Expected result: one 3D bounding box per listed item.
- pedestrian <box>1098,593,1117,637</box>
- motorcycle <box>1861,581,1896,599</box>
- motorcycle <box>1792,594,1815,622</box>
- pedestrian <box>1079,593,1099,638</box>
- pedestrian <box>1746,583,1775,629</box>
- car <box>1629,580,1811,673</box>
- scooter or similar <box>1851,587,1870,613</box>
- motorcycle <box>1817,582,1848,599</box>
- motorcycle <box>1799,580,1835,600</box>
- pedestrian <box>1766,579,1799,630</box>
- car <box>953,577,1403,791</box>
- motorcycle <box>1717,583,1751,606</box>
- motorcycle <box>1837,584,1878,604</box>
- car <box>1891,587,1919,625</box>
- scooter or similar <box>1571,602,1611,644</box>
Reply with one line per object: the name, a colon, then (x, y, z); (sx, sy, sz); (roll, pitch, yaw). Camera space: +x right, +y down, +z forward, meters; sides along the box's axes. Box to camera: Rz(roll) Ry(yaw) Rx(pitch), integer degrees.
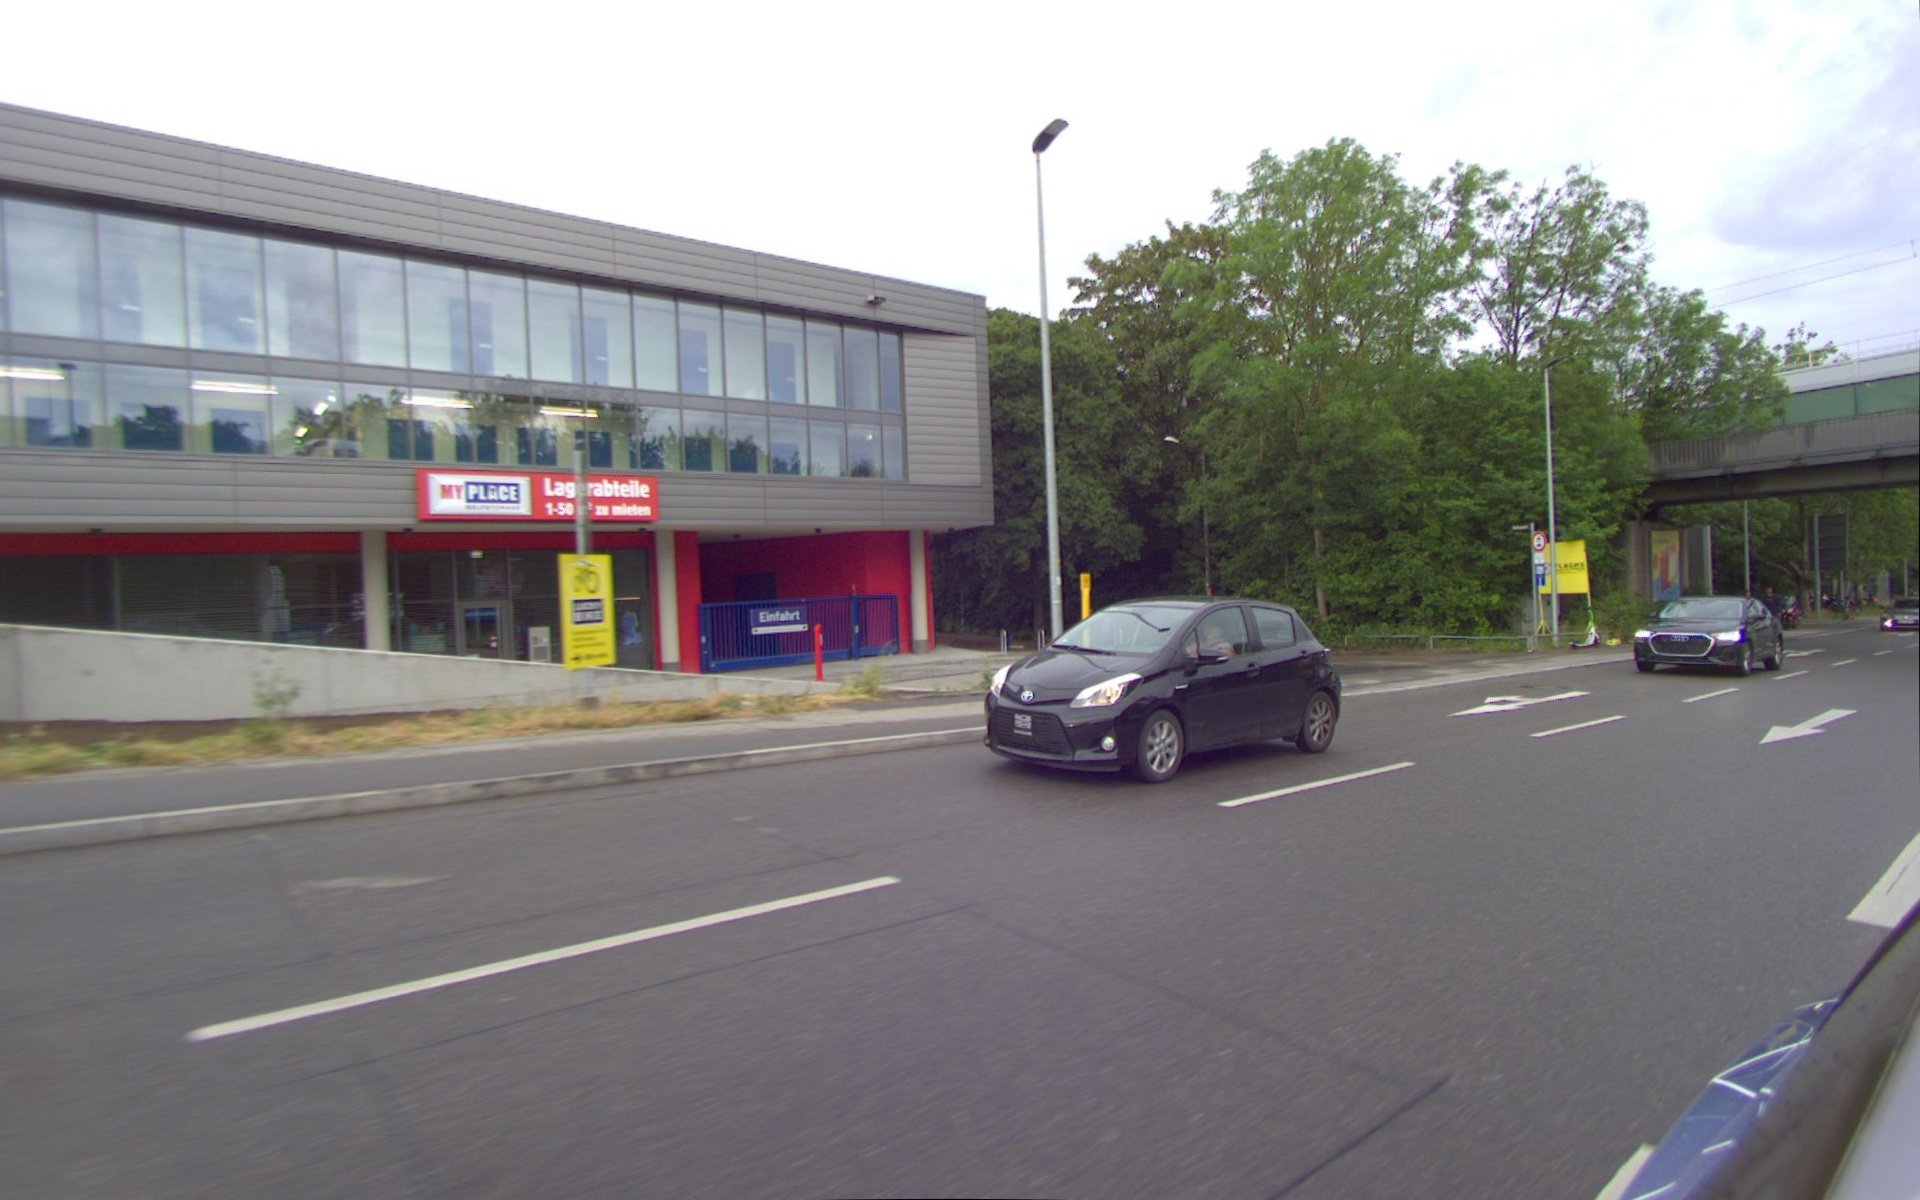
pedestrian: (6.223, 0.621, 42.594); (0.588, 1.839, 0.587); (-1, -1, -12)
motorcycle: (63.547, -0.692, 70.023); (0.484, 1.165, 1.659); (-2, -1, -31)
motorcycle: (35.768, 0.330, 42.907); (1.787, 1.151, 0.470); (-2, 1, -41)
pedestrian: (5.416, 0.655, 42.428); (0.612, 1.839, 0.587); (-1, -1, -12)
pedestrian: (28.678, 0.199, 36.256); (0.567, 1.616, 0.653); (-1, 0, -28)
car: (15.796, 0.465, 20.909); (5.511, 1.564, 1.818); (-3, 1, -40)
scooter or similar: (47.590, -0.017, 53.492); (1.281, 1.315, 0.313); (-2, 0, -29)
motorcycle: (65.324, -0.693, 75.768); (0.548, 1.160, 1.645); (-2, -1, -29)
motorcycle: (62.026, -0.728, 73.267); (0.498, 1.382, 1.928); (-2, -1, -44)
pedestrian: (28.914, 0.147, 35.582); (0.874, 1.743, 0.613); (-1, 0, -30)
car: (2.259, 0.615, 9.662); (4.560, 1.488, 1.747); (-3, 0, -40)
motorcycle: (45.630, -0.328, 59.668); (2.028, 1.295, 0.350); (-1, 0, -12)
motorcycle: (56.263, -0.380, 63.437); (1.842, 1.206, 0.515); (-1, 0, 36)
car: (41.068, 0.235, 42.947); (4.438, 1.448, 1.747); (-3, 0, -40)
scooter or similar: (17.689, 0.639, 28.382); (1.253, 1.144, 0.256); (-1, -1, -23)
